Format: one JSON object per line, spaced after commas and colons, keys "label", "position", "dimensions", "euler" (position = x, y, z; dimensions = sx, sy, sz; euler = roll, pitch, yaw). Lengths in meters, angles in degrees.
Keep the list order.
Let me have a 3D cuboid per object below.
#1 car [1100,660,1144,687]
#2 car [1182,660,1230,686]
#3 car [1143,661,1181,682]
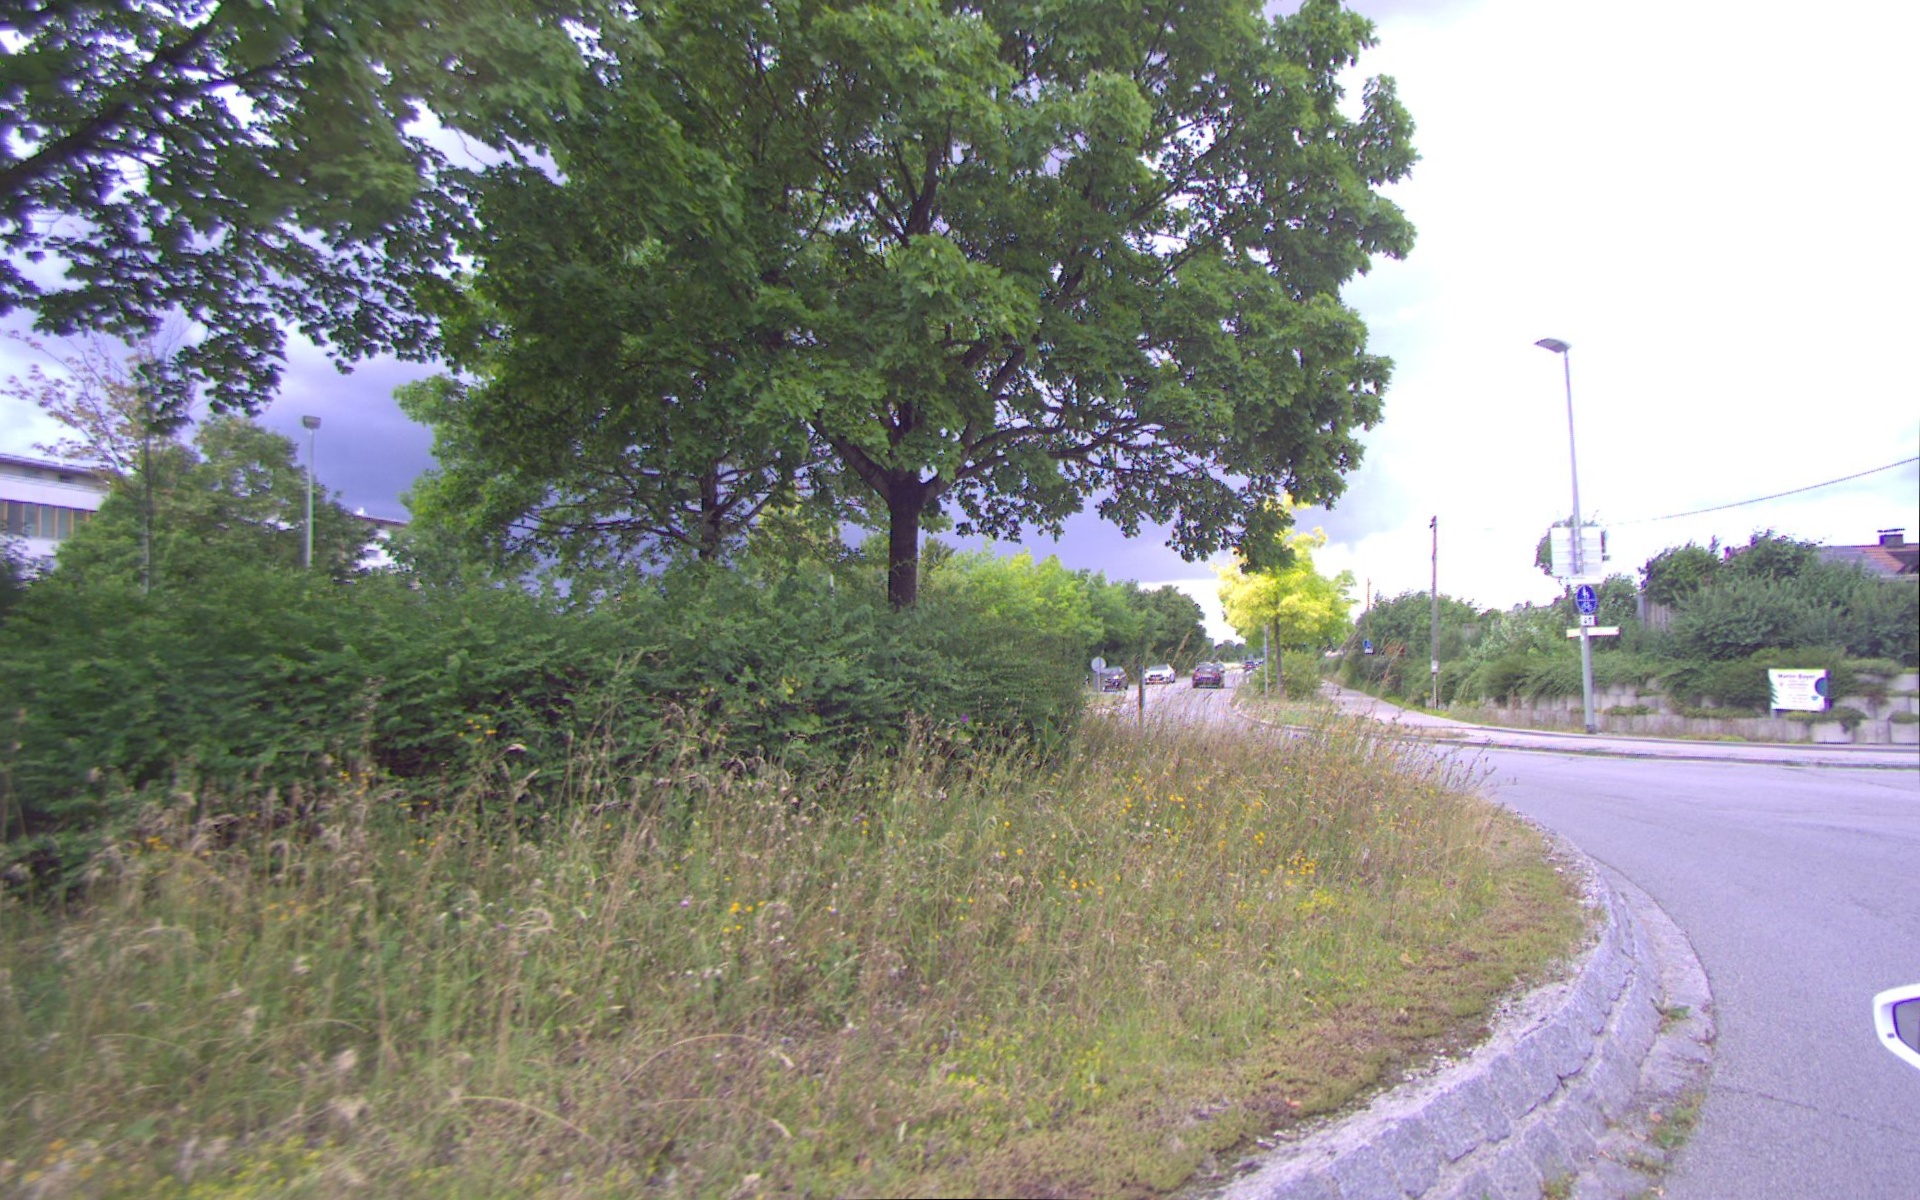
{"label": "car", "position": [9.856, 4.414, 60.880], "dimensions": [1.655, 1.473, 3.999], "euler": [0, -2, 23]}
{"label": "car", "position": [15.511, 4.534, 63.174], "dimensions": [2.175, 1.473, 4.941], "euler": [0, -2, 23]}
{"label": "car", "position": [15.631, 5.509, 77.578], "dimensions": [2.177, 1.473, 4.943], "euler": [0, -2, 21]}
